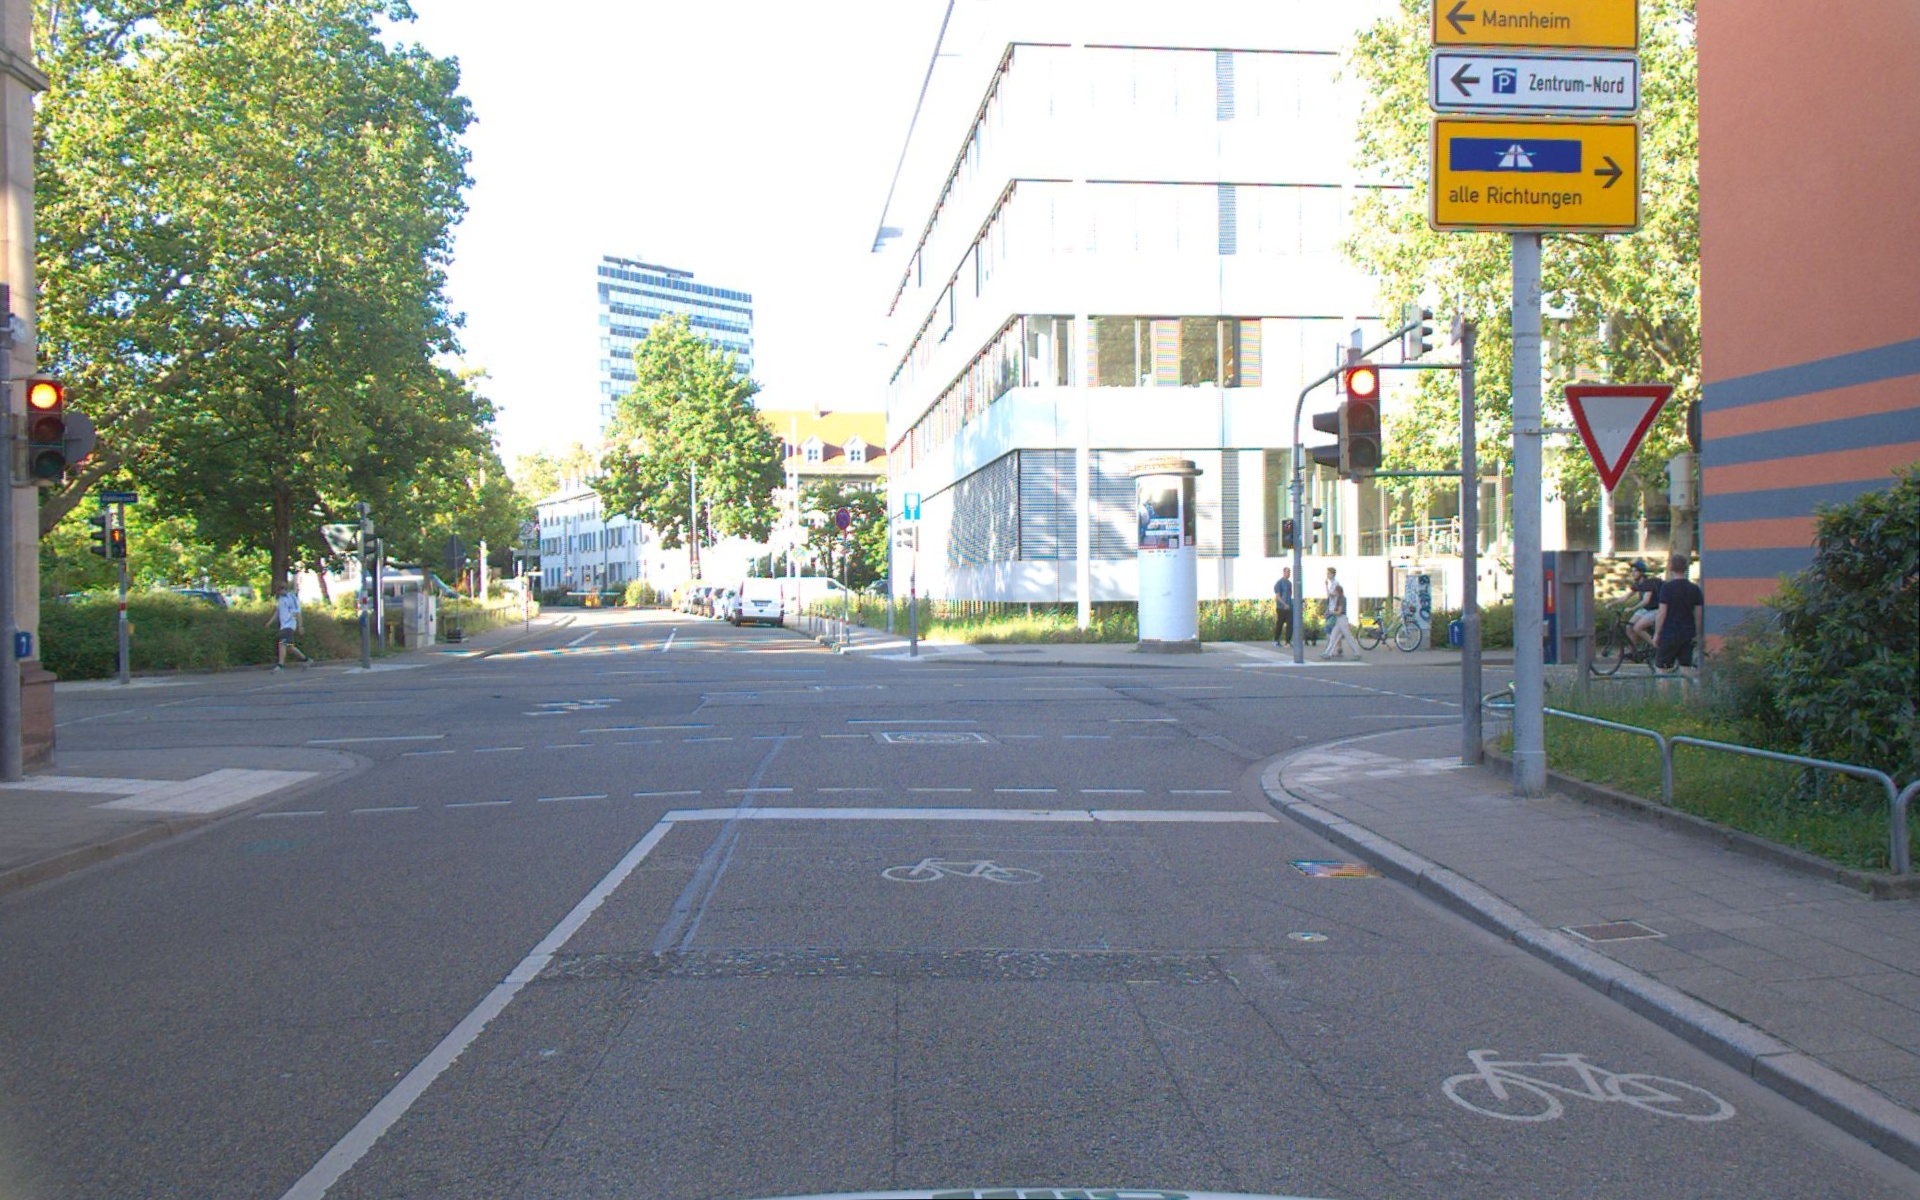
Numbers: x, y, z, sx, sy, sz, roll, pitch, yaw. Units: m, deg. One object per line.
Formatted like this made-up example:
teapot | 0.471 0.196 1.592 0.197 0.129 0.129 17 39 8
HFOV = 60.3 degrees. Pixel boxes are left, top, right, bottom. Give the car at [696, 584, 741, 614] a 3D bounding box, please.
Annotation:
car | -12.547 -0.049 85.789 1.959 1.525 4.637 1 0 -13

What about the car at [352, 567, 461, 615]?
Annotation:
car | -24.960 -0.386 74.682 4.363 2.049 1.995 1 0 -10

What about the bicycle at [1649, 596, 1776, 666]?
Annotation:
bicycle | 13.023 0.527 28.648 1.923 1.172 0.627 -1 0 0

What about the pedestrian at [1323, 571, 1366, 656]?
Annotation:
pedestrian | 7.972 0.276 34.333 0.749 1.749 0.648 1 -1 2

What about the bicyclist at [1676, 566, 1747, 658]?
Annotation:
bicyclist | 13.014 0.201 28.657 0.897 1.549 0.704 -1 0 0

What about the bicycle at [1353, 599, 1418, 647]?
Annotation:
bicycle | 9.324 0.506 36.281 0.376 1.026 1.410 -1 0 -42

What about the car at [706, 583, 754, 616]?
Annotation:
car | -11.304 -0.007 81.083 1.959 1.525 4.272 1 0 -13

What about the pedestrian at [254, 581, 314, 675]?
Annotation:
pedestrian | -13.981 0.571 34.201 0.730 1.901 0.911 0 -1 44

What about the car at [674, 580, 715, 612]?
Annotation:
car | -15.379 -0.209 95.605 1.960 1.755 4.635 1 0 -14

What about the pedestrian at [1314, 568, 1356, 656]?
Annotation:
pedestrian | 7.930 0.250 35.019 0.749 1.826 0.648 1 -1 2

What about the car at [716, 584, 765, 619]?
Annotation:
car | -10.191 0.060 76.652 1.958 1.525 4.639 1 0 -11

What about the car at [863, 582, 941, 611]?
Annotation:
car | -3.670 -0.232 104.722 4.563 1.755 1.991 1 0 -17

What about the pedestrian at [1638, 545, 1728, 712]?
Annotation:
pedestrian | 8.181 0.320 18.717 0.713 1.842 0.691 1 -1 -42

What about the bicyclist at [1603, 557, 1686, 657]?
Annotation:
bicyclist | 10.831 0.108 26.192 1.054 1.554 0.592 -1 0 -4

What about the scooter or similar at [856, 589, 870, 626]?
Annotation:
scooter or similar | -3.426 0.267 58.235 0.429 1.278 1.418 -1 0 -5

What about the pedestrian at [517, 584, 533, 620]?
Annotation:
pedestrian | -19.492 0.089 74.117 0.688 1.614 0.634 1 -1 -16

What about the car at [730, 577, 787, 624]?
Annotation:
car | -7.914 0.016 64.702 1.957 1.755 4.641 1 0 -10

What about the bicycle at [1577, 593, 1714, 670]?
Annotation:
bicycle | 10.843 0.493 26.186 1.924 1.172 0.592 -1 0 -4

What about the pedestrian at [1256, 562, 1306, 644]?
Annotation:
pedestrian | 7.348 0.063 37.802 0.897 1.847 0.760 1 -1 31

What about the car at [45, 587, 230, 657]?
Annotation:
car | -18.366 0.486 37.064 3.347 1.483 1.646 1 0 -11

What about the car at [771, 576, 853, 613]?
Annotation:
car | -9.195 -0.348 102.797 4.718 2.196 1.990 1 0 -18

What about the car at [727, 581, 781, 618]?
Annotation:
car | -8.866 -0.018 70.901 1.958 1.525 4.639 1 0 -11
